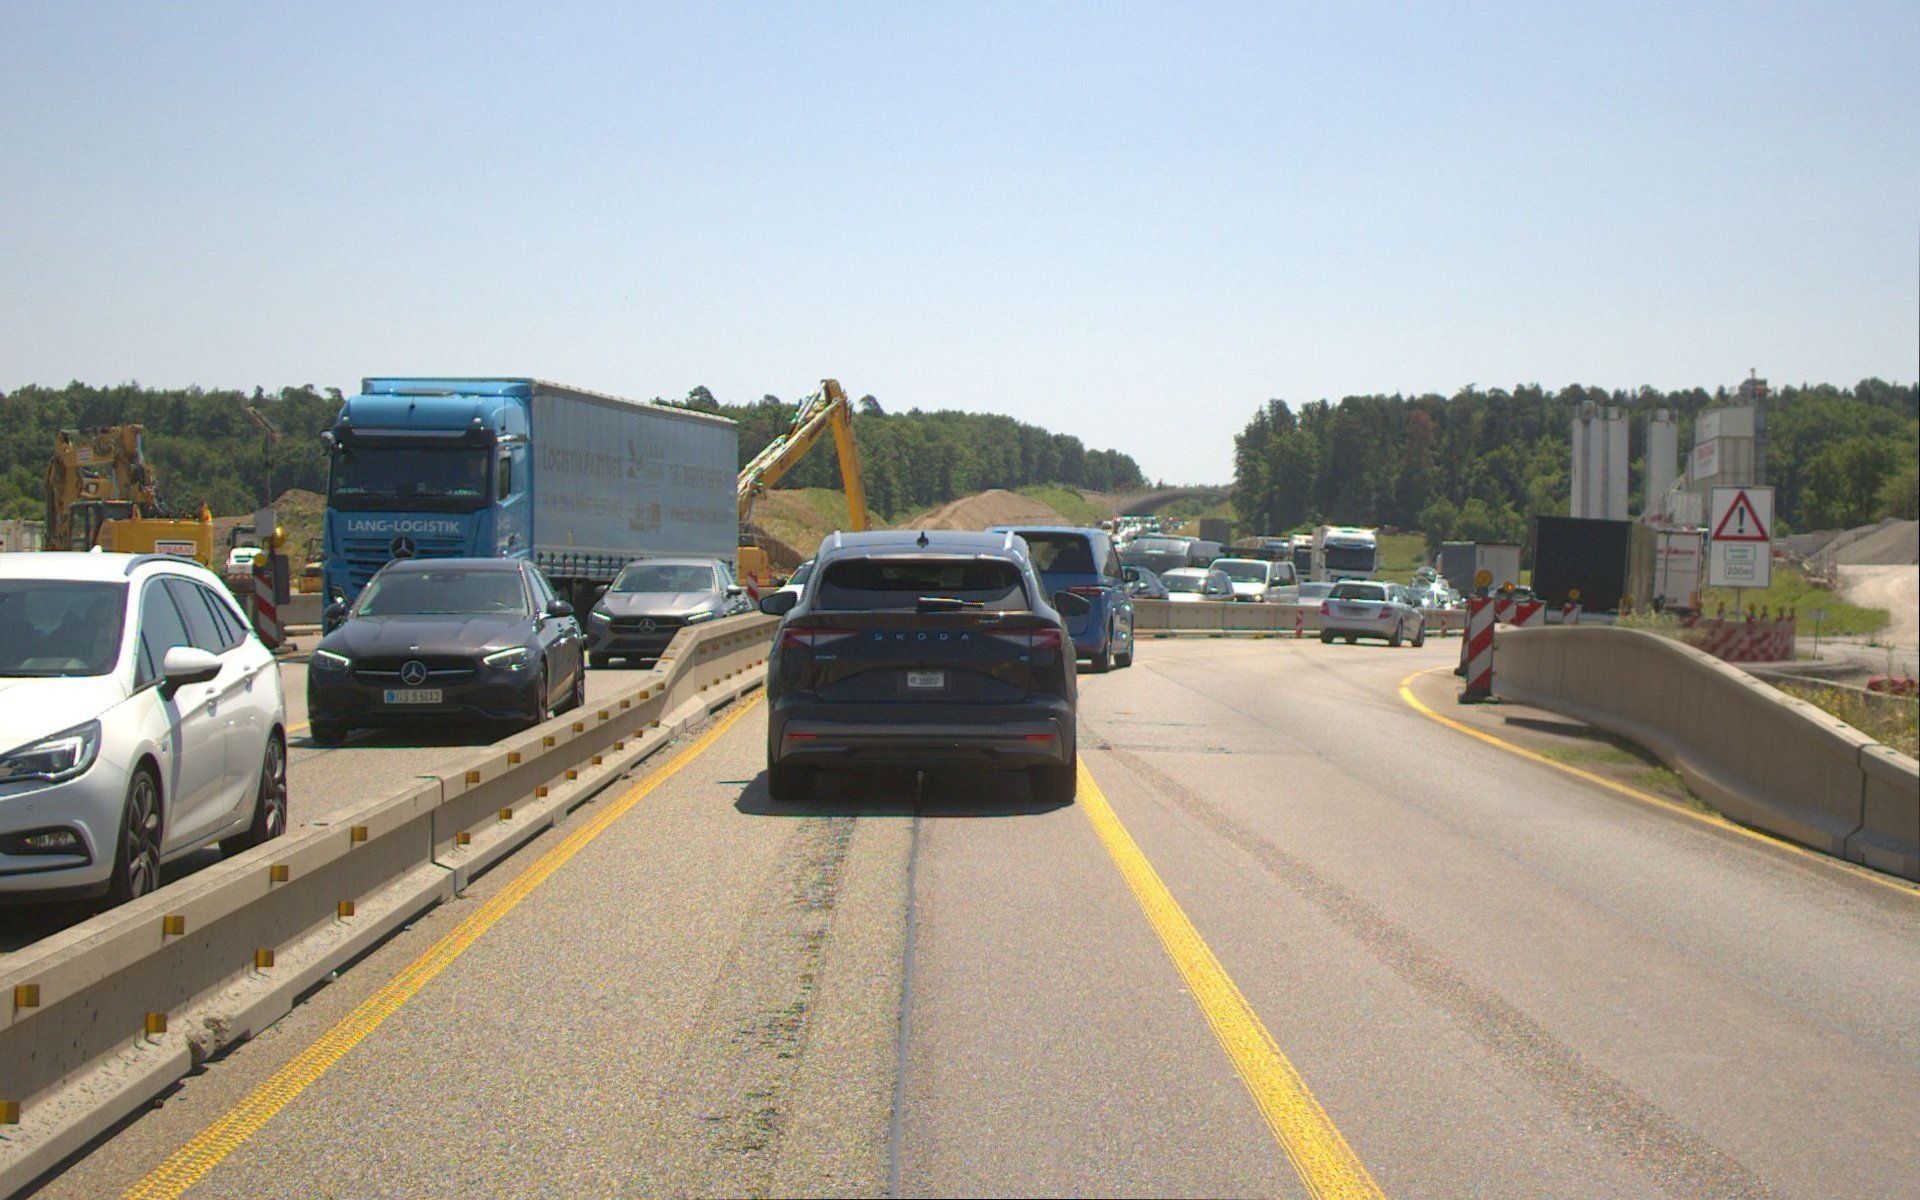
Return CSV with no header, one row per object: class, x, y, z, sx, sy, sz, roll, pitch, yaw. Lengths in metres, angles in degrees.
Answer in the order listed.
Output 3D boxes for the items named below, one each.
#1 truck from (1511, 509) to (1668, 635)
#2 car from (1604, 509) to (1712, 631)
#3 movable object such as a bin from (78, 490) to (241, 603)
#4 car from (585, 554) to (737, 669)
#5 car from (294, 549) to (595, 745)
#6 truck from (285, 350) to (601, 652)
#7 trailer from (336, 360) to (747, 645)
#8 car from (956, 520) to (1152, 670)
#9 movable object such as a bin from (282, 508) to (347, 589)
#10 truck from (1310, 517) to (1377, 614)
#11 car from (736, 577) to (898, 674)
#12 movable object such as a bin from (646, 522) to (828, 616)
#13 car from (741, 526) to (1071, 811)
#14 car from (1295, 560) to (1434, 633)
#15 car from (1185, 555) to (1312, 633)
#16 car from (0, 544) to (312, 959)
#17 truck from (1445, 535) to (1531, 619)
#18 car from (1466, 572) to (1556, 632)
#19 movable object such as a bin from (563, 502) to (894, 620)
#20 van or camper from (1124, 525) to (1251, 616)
truck,15.337,-0.661,83.505,2.676,2.935,5.614,1,0,22
car,25.926,-1.106,127.521,3.438,4.087,9.192,5,1,12
movable object such as a bin,-21.218,-1.411,91.064,2.871,2.718,3.361,3,2,-40
car,-3.974,0.119,46.267,1.589,1.436,4.125,-1,1,1
car,-4.151,0.317,28.383,1.774,1.423,4.770,-1,1,0
truck,-7.426,-1.398,50.265,2.915,4.115,6.136,1,1,8
trailer,-6.528,-1.506,56.894,2.915,4.115,13.911,1,1,9
car,1.308,-0.095,45.775,1.994,1.837,3.998,2,1,10
movable object such as a bin,-27.333,-2.230,145.559,2.421,3.115,5.483,5,1,-11
truck,17.344,-1.562,155.767,2.771,4.245,6.198,2,1,5
car,-2.413,0.400,59.036,2.017,1.439,4.587,0,2,8
movable object such as a bin,-6.554,-0.880,101.836,3.295,2.432,5.434,6,2,20
car,-0.295,0.343,21.274,1.842,1.576,4.000,0,1,0
car,9.167,-0.114,77.579,2.047,1.521,5.061,0,1,20
car,7.640,-0.129,90.666,1.875,1.866,5.052,3,0,21
car,-4.086,0.519,14.884,1.734,1.473,4.520,0,1,0
truck,29.625,-1.348,193.327,3.476,4.206,10.376,6,2,3
car,16.117,0.071,100.381,1.823,1.638,3.861,3,1,20
movable object such as a bin,-6.017,-1.033,88.684,7.922,2.424,3.710,5,1,37
van or camper,6.677,-0.839,100.147,2.100,2.532,6.299,1,0,19
